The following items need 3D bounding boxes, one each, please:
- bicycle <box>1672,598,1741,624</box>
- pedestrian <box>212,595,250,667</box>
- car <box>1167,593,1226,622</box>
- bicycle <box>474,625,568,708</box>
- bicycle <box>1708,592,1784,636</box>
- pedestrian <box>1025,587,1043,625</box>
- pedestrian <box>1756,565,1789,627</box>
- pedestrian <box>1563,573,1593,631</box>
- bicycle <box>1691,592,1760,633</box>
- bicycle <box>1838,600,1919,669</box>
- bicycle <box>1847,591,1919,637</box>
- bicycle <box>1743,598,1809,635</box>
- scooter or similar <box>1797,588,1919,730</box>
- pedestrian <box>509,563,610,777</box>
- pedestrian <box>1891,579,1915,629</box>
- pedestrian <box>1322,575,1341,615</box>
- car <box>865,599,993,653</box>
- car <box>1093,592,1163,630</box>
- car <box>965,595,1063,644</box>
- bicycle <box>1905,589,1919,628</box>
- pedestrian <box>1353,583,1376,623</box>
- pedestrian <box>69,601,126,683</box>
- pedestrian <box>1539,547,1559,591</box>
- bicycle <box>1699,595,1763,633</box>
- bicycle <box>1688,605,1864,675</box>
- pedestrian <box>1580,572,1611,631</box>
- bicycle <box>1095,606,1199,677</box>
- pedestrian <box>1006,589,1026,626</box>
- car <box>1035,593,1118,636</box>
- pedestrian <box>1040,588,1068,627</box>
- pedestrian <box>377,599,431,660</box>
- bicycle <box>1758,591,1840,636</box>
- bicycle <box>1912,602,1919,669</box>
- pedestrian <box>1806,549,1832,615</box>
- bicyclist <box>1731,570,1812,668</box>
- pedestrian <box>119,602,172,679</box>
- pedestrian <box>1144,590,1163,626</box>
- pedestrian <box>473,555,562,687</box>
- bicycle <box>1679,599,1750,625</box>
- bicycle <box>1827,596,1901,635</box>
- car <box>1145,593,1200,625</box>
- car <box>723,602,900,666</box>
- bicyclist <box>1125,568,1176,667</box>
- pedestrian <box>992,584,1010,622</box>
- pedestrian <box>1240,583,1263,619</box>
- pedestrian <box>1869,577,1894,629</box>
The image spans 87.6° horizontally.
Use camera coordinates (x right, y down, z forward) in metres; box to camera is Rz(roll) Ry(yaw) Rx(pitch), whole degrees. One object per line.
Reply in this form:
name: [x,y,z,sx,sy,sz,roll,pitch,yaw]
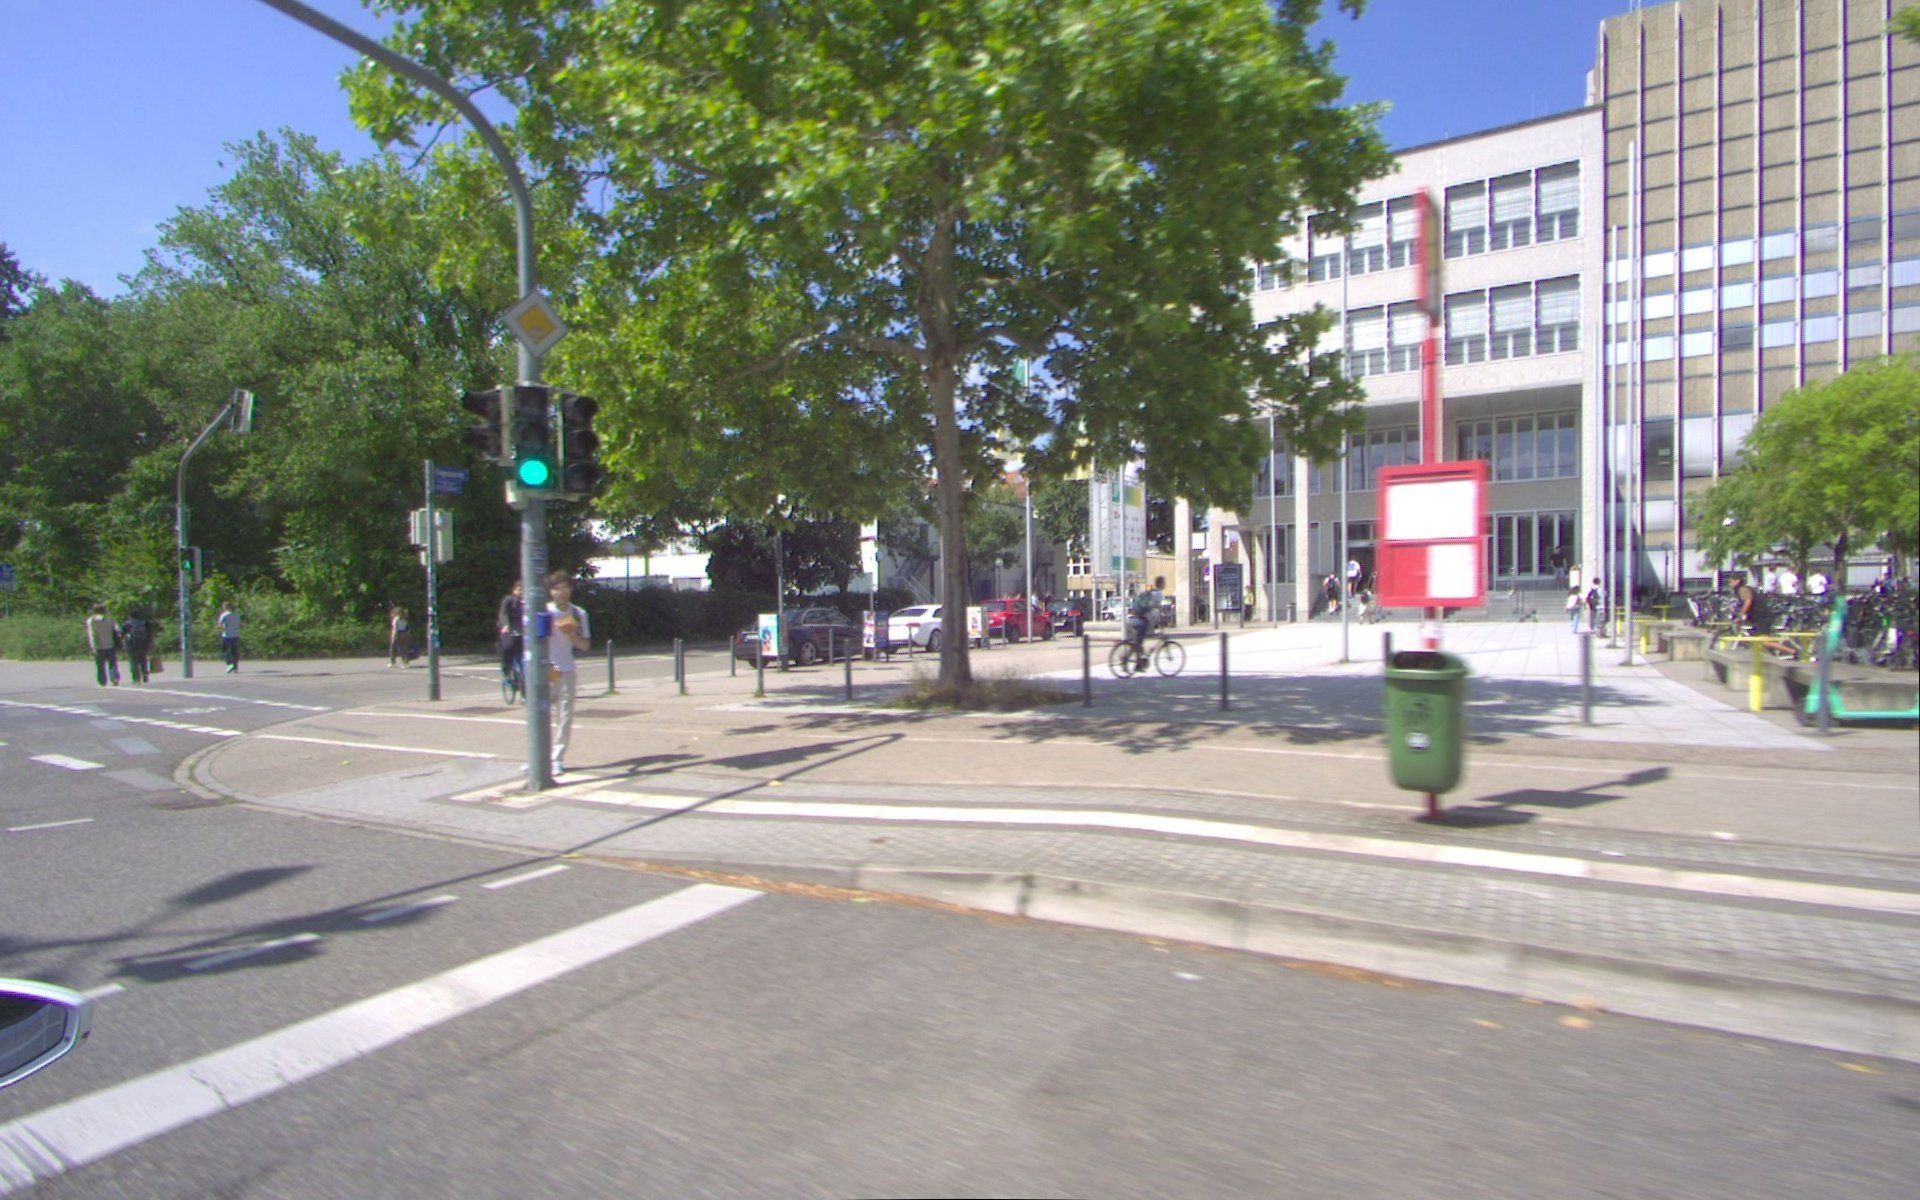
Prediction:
bicycle: [24.857,0.370,33.366,1.736,0.803,0.519,-1,1,19]
pedestrian: [-18.842,0.791,25.886,0.695,1.845,0.667,1,1,42]
car: [12.755,0.393,53.753,1.845,1.484,4.498,-1,0,30]
bicycle: [-6.551,0.954,14.893,0.807,1.087,1.877,-6,2,-37]
bicycle: [20.480,0.370,26.137,0.592,1.113,1.768,0,-1,0]
pedestrian: [3.880,0.320,52.500,0.713,1.951,0.749,-1,1,20]
pedestrian: [29.921,-0.136,36.879,0.622,2.258,0.717,0,-1,1]
pedestrian: [19.171,0.078,31.073,0.709,1.769,0.628,1,-1,-42]
bicycle: [21.659,0.370,28.369,0.592,1.113,1.768,0,-1,0]
bicycle: [15.777,0.568,16.768,0.592,1.113,1.768,0,-1,1]
bicycle: [23.459,0.360,25.254,0.592,1.113,1.768,0,-1,0]
bicycle: [25.116,0.512,30.852,0.592,1.113,1.768,0,-1,0]
scooter or similar: [7.939,0.495,8.536,1.175,1.180,0.352,-1,-1,32]
pedestrian: [-3.539,0.593,8.895,0.599,1.825,0.595,-2,3,-4]
pedestrian: [42.477,0.187,45.095,0.627,2.258,0.710,1,-1,-40]
pedestrian: [16.055,-0.211,43.306,0.625,1.687,0.712,-1,-1,34]
car: [-0.839,0.756,30.199,1.699,1.418,4.416,-4,-1,31]
car: [7.434,0.456,43.954,1.698,1.549,4.547,-3,-1,28]
car: [1.935,0.637,34.785,1.597,1.516,4.125,-3,-1,32]
bicycle: [27.728,0.231,28.164,0.592,1.113,1.768,0,-1,0]
pedestrian: [16.385,0.143,40.573,0.710,1.605,0.712,-1,-1,34]
pedestrian: [-18.790,0.891,21.810,1.169,1.727,0.791,1,1,42]
pedestrian: [25.271,-1.302,42.965,0.710,1.821,0.712,-1,-1,34]
bicycle: [23.688,0.443,30.805,0.592,1.113,1.768,0,-1,0]
bicycle: [13.624,0.671,16.777,0.893,1.092,2.137,0,-2,-39]
pedestrian: [19.493,0.065,30.695,0.709,1.769,0.628,1,-1,-42]
bicycle: [3.581,0.784,19.191,1.840,1.313,0.662,0,-1,-15]
pedestrian: [2.924,0.389,52.545,0.725,1.951,0.779,-1,1,-37]
car: [4.585,0.541,38.963,1.700,1.549,3.979,-1,0,31]
pedestrian: [4.748,0.389,50.615,1.083,1.945,1.015,0,1,32]
pedestrian: [-15.575,0.819,28.067,1.001,1.649,0.856,1,2,15]
bicycle: [21.401,0.360,25.578,0.592,1.113,1.768,0,-1,0]
bicycle: [16.432,0.574,16.088,0.592,1.113,1.768,0,-1,1]
pedestrian: [30.328,-0.620,35.361,0.626,2.258,0.849,-1,-1,38]
bicyclist: [13.573,0.309,16.761,0.655,1.585,0.926,-2,1,-37]
pedestrian: [-18.827,0.920,23.136,1.169,1.727,0.791,1,1,42]
pedestrian: [8.971,0.365,46.443,0.678,1.661,0.738,-1,1,-7]
pedestrian: [-6.577,0.308,14.870,0.846,1.844,1.167,-5,2,-37]
bicycle: [24.358,0.378,32.352,1.736,0.803,0.519,-1,1,19]
bicycle: [26.687,0.469,29.605,0.592,1.113,1.768,0,-1,0]
car: [10.621,0.417,49.881,1.595,1.516,3.988,0,0,29]
car: [-3.648,0.812,25.554,1.699,1.418,4.923,-3,-1,31]
bicyclist: [3.653,0.344,19.231,0.748,1.869,0.662,0,-1,-14]
pedestrian: [2.142,0.156,52.285,0.586,1.951,0.780,-1,1,-37]
pedestrian: [14.587,0.058,50.085,0.907,1.763,0.996,-1,1,31]
pedestrian: [40.600,0.162,44.130,0.627,2.258,0.710,1,-1,-40]
